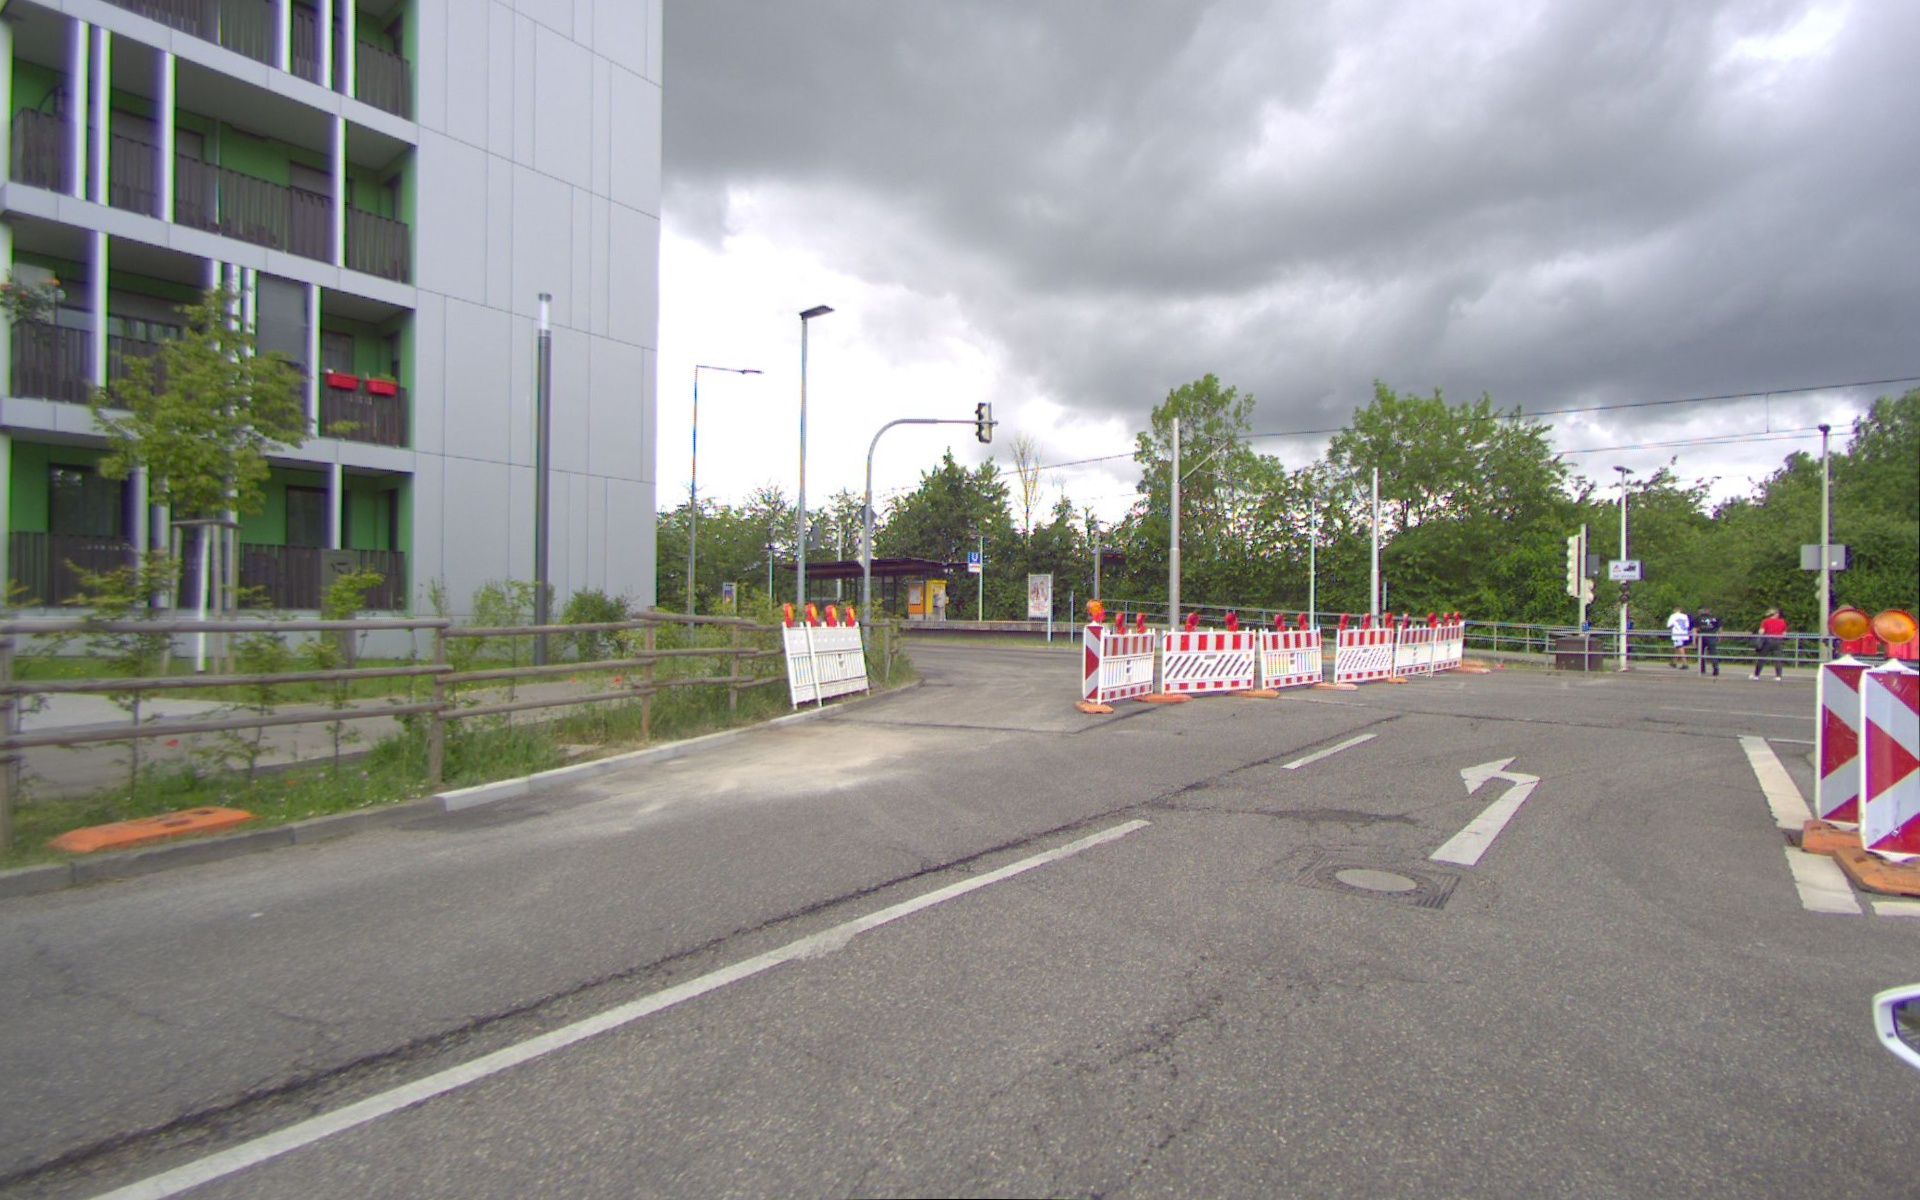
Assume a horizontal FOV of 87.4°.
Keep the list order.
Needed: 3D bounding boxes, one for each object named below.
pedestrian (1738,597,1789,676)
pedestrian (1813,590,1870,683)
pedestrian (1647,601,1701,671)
[{"bbox_3d":[16.992,0.755,21.251,0.799,1.643,0.713,1,0,-42],"label":"pedestrian"},{"bbox_3d":[17.303,0.707,19.715,0.950,1.771,0.713,1,0,-42],"label":"pedestrian"},{"bbox_3d":[18.576,0.914,26.149,0.708,1.771,0.957,1,0,-3],"label":"pedestrian"}]
